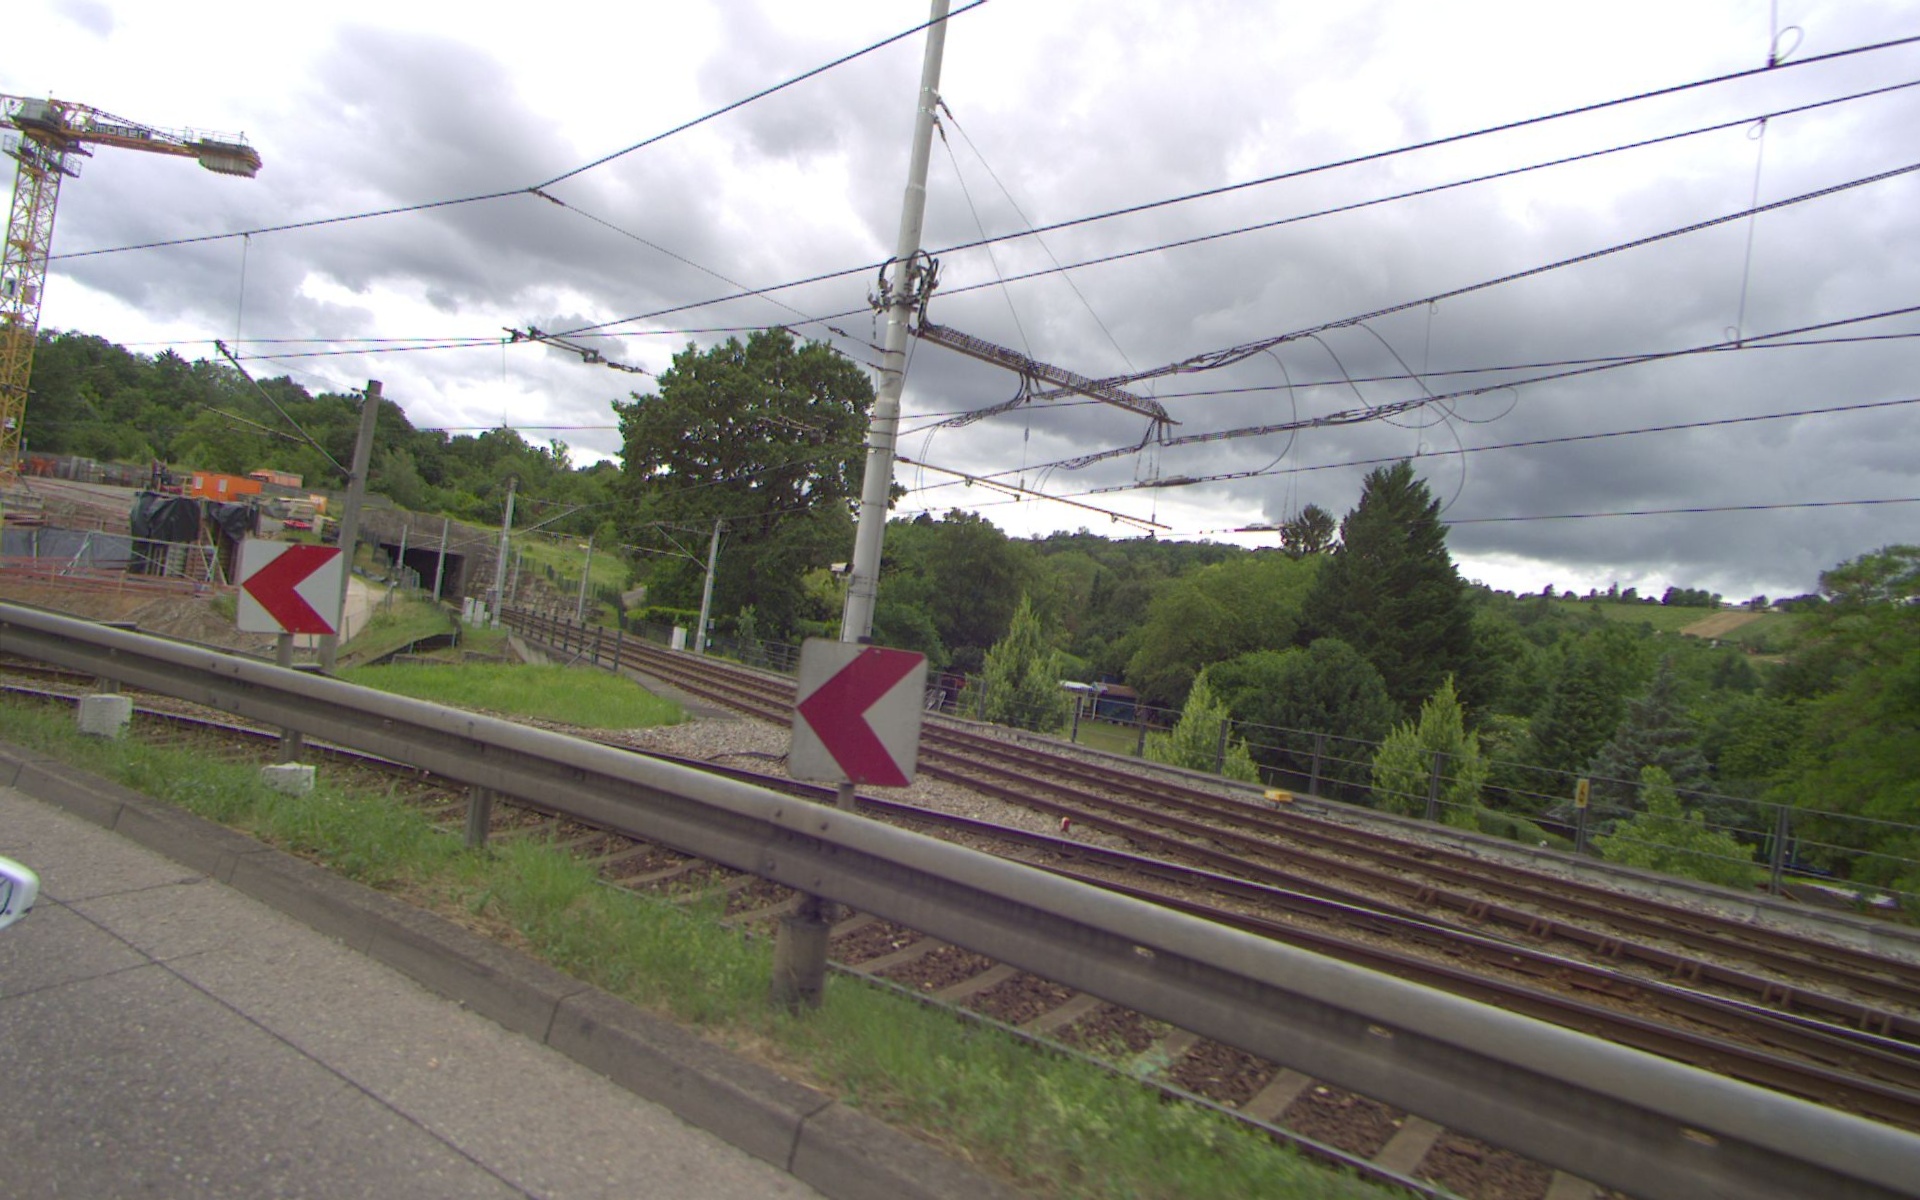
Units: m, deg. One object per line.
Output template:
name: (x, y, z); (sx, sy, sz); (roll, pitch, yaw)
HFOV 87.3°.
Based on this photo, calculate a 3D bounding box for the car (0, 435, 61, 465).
car: (-92.037, -14.829, 99.657); (1.962, 2.037, 4.003); (7, -1, 7)

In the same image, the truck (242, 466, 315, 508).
truck: (-96.039, -15.866, 142.013); (3.063, 4.270, 9.796); (8, -1, 1)

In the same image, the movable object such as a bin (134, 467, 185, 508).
movable object such as a bin: (-71.591, -10.075, 89.958); (2.748, 3.114, 1.842); (7, 0, 3)
